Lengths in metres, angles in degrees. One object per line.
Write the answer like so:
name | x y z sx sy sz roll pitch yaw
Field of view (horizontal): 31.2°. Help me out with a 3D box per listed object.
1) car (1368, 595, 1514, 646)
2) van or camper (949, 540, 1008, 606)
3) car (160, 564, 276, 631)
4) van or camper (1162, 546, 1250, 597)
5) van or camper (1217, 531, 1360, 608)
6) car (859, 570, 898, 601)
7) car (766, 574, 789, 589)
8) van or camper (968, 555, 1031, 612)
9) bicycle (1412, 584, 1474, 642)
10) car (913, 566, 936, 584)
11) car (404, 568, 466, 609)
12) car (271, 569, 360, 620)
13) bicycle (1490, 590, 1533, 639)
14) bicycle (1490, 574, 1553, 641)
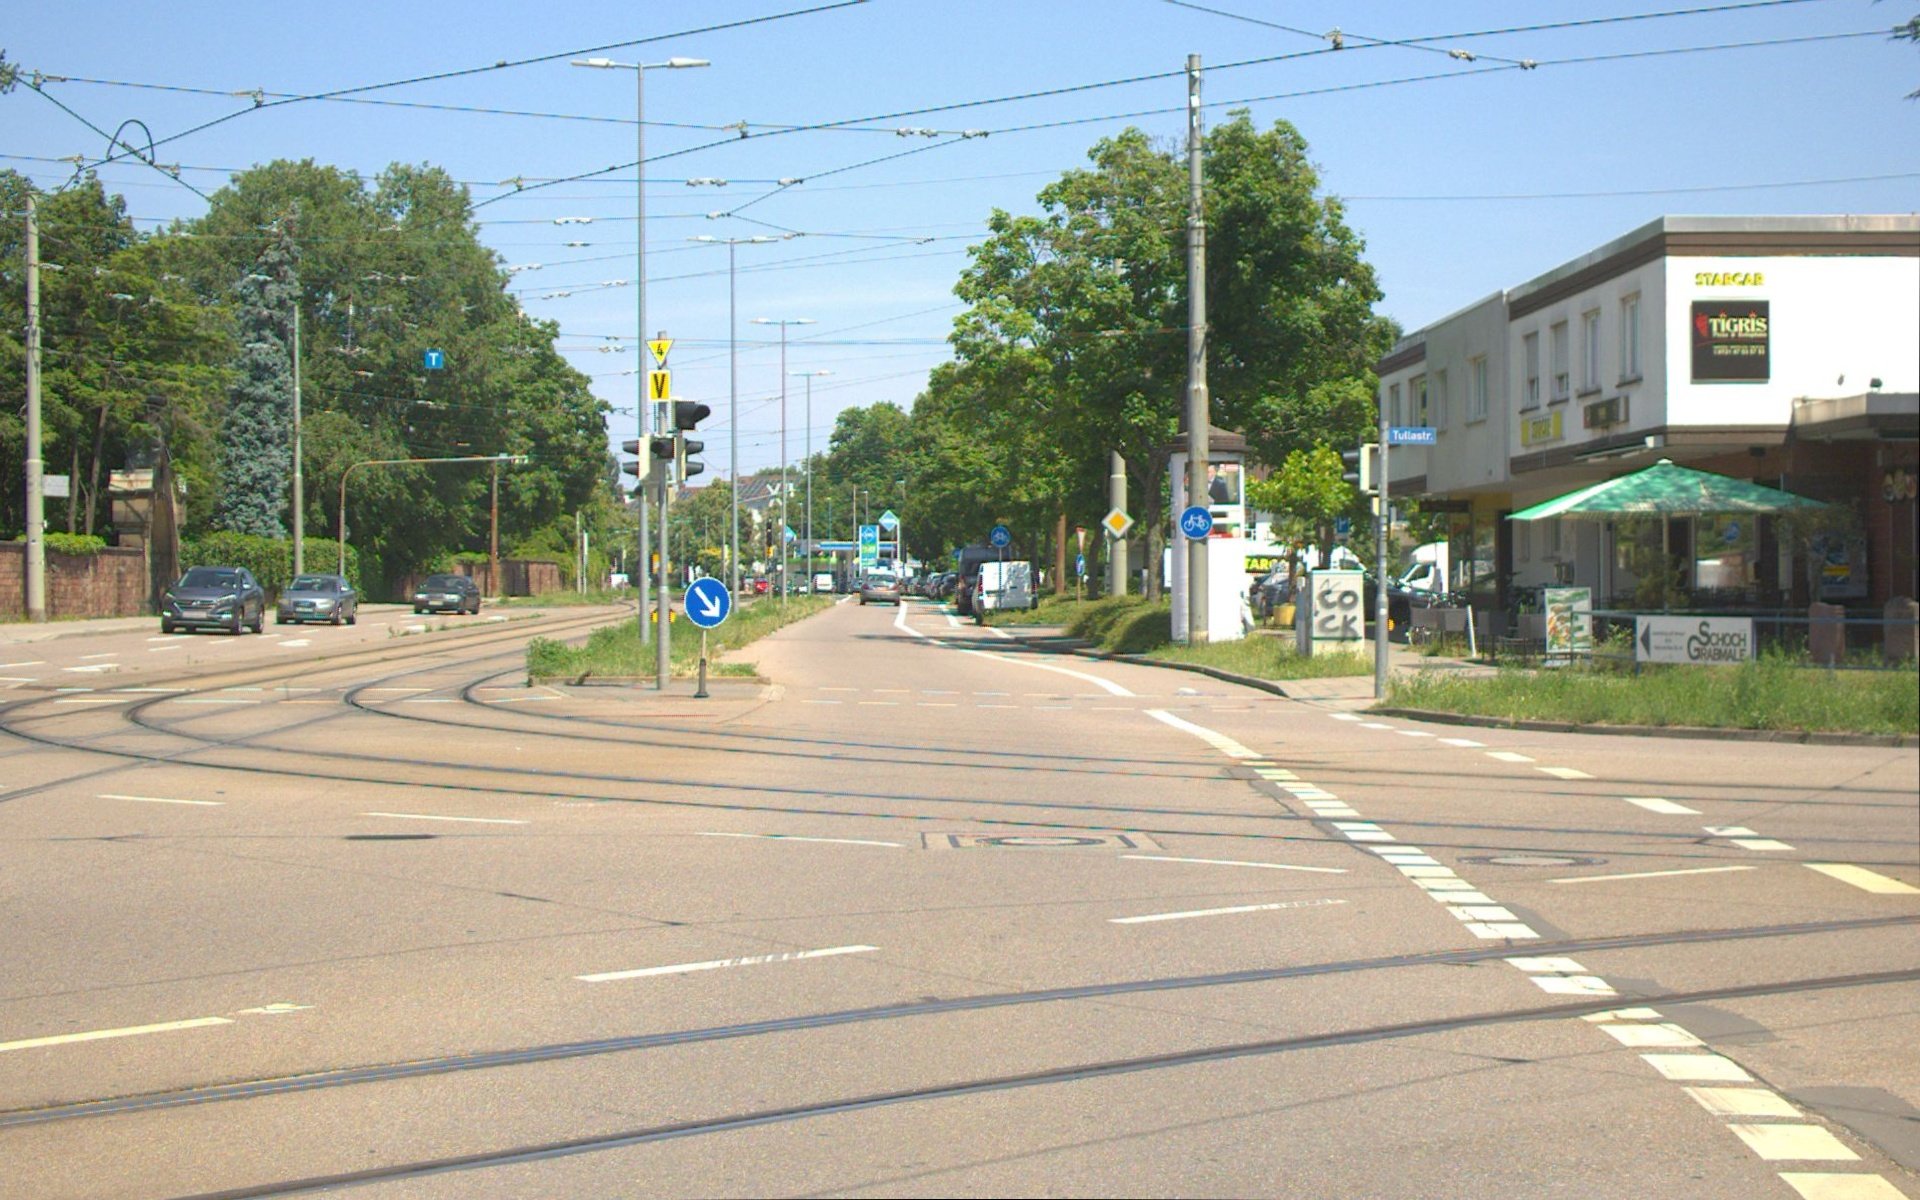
car | 12.868 0.538 92.092 3.606 1.346 1.491 0 0 -7
van or camper | 0.691 -1.031 130.185 1.993 2.456 4.001 0 0 -3
car | -17.991 -0.083 83.526 1.820 1.598 4.520 0 1 0
van or camper | 10.395 -1.226 145.440 3.557 2.138 1.603 0 0 -2
van or camper | 11.540 -1.068 120.974 4.756 2.662 2.136 0 0 -2
car | -3.642 -0.646 153.230 1.636 1.346 3.842 0 1 -3
car | -12.498 -1.256 235.481 1.492 1.043 3.580 0 1 -1
van or camper | 1.215 -0.536 107.934 1.922 1.766 4.000 0 0 0
bicycle | 8.747 0.220 62.329 1.034 1.011 2.636 0 1 6
car | -2.519 -1.775 243.034 1.523 1.292 3.493 0 1 -3
car | -18.546 -0.424 121.608 1.641 1.395 4.116 1 1 -2
car | -18.302 -0.165 97.820 1.641 1.416 4.167 0 0 2
bicycle | 12.131 0.315 75.684 0.507 1.061 1.864 0 0 -4
bicycle | 10.073 0.118 61.738 0.989 1.160 2.636 0 1 6
